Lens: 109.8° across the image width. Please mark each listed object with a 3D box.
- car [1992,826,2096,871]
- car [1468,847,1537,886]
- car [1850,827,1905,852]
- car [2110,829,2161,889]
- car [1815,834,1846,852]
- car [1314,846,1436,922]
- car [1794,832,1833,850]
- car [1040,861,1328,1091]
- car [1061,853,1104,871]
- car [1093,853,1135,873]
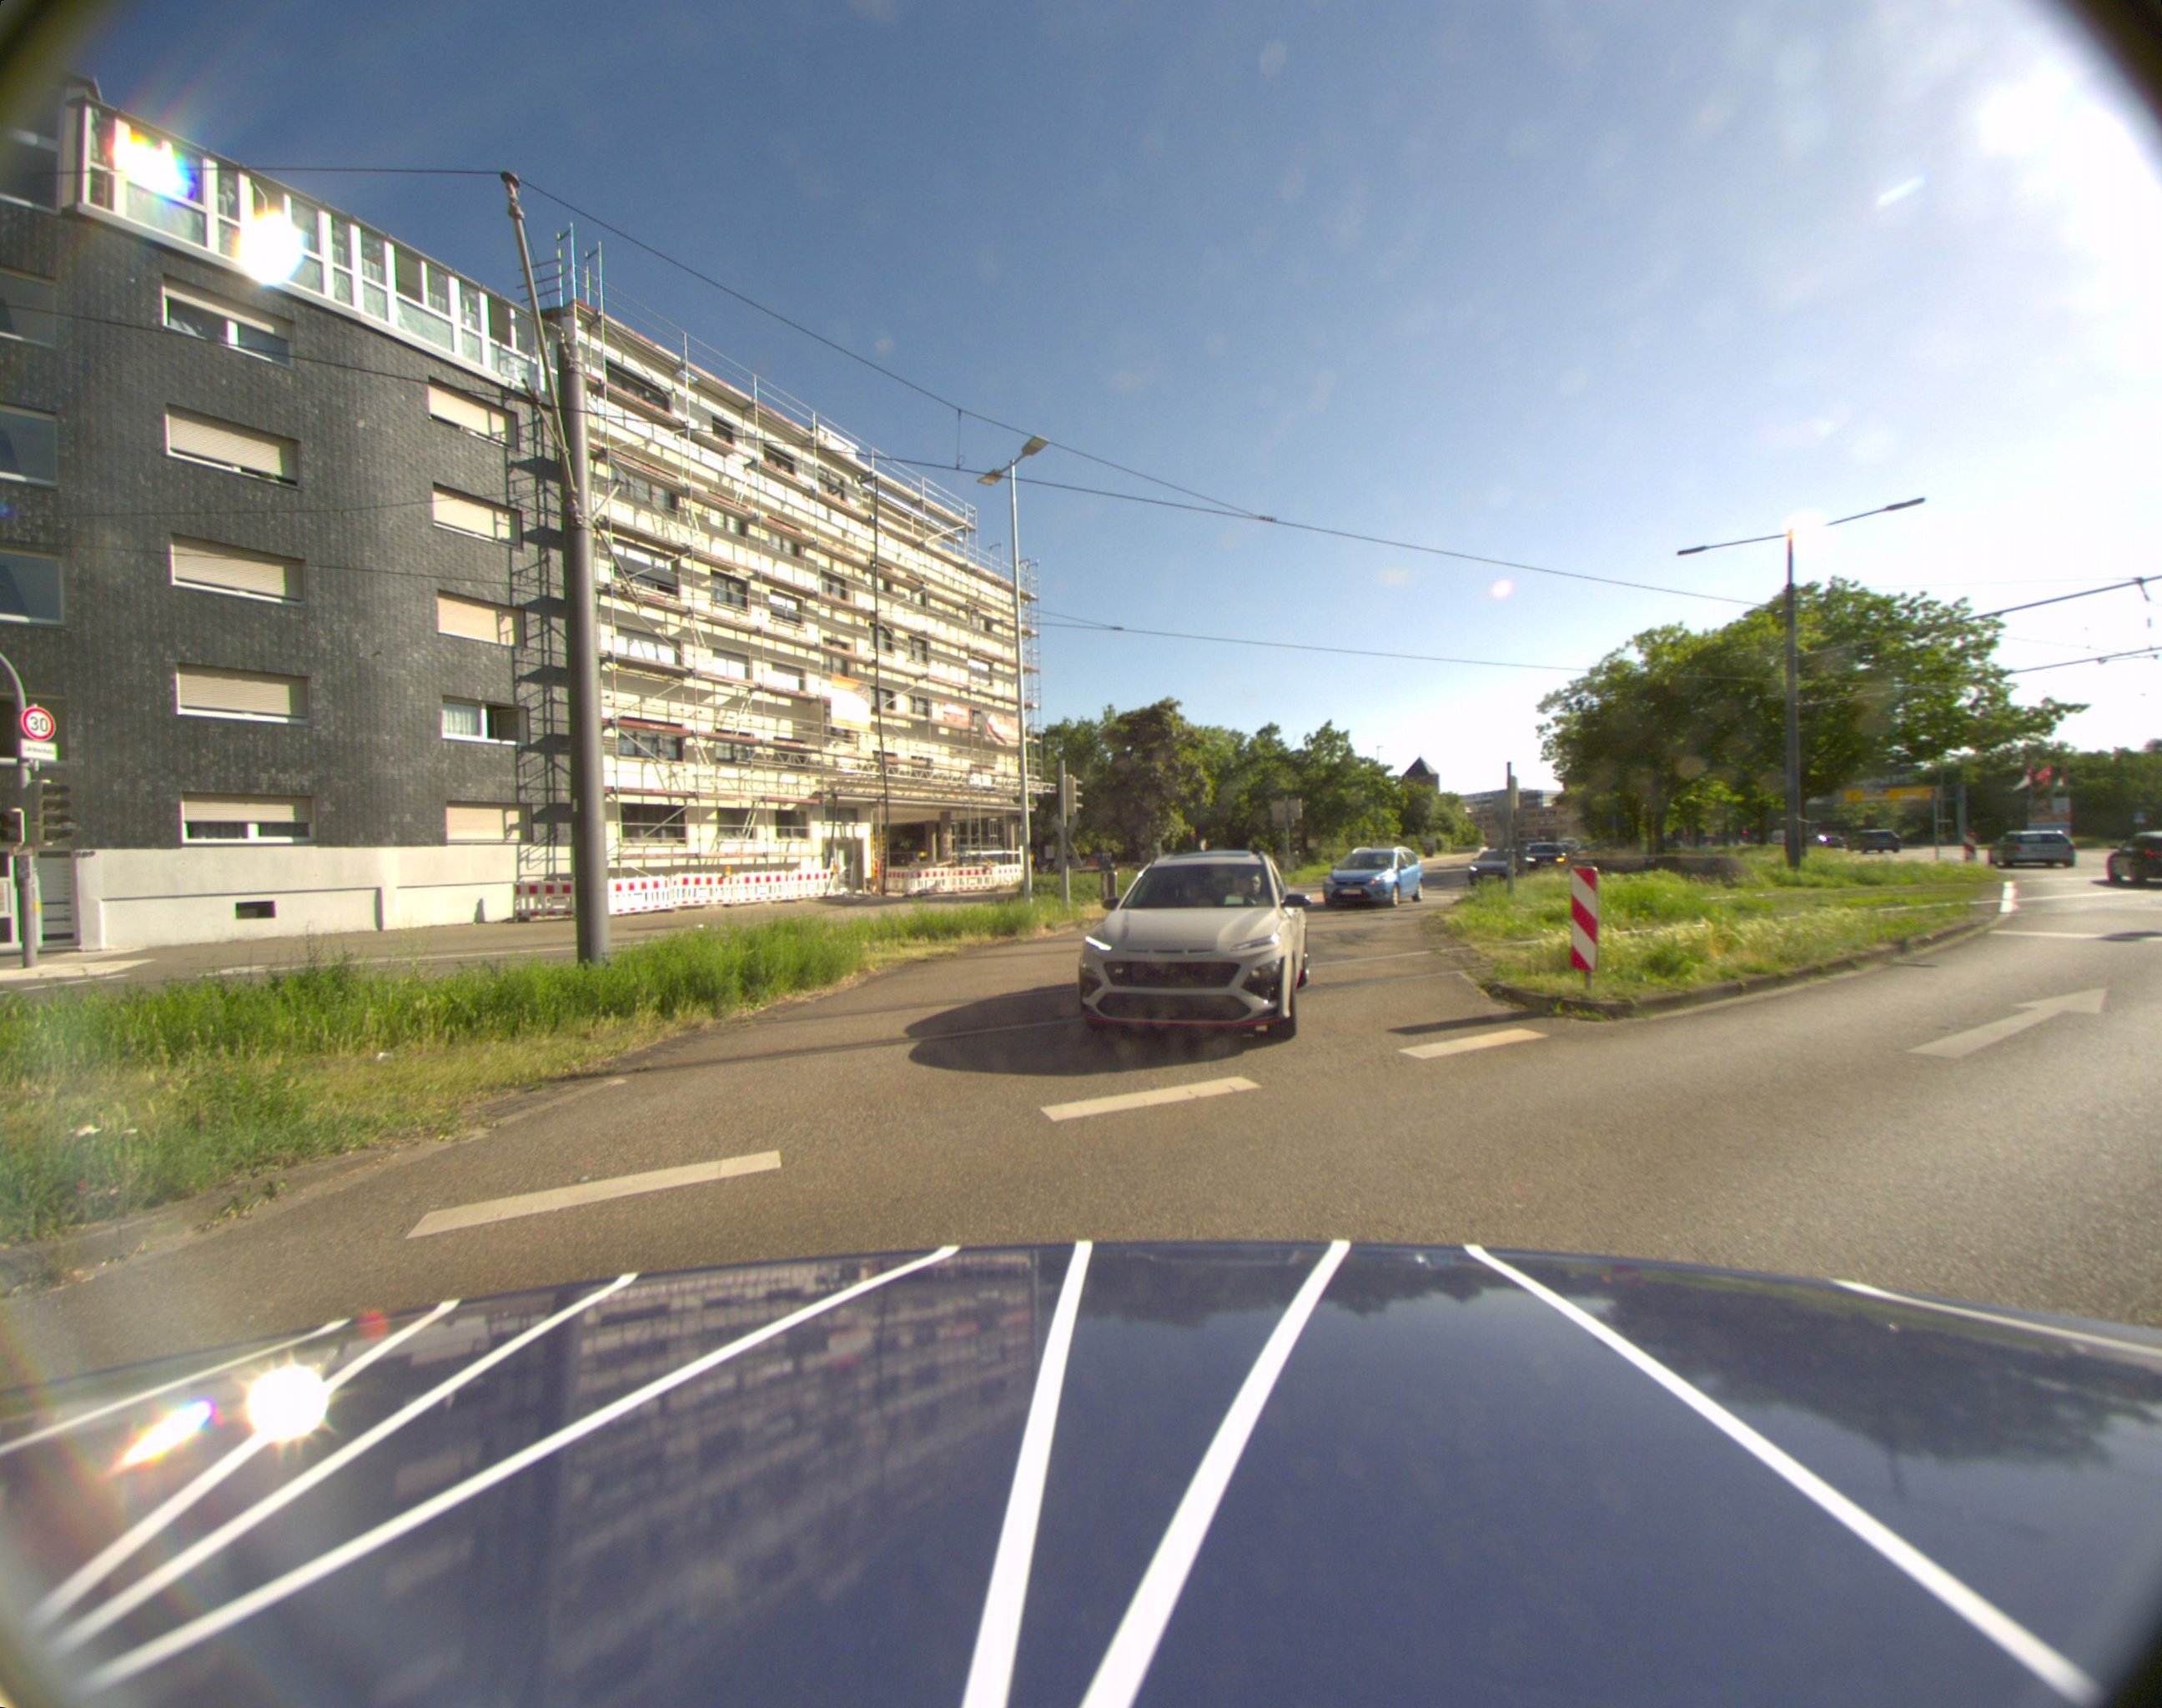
[{"bbox_3d":[38.681,-0.239,30.641,1.994,1.652,4.494,-1,0,44],"label":"car"},{"bbox_3d":[17.502,0.498,31.457,1.868,1.447,4.494,-1,0,37],"label":"car"},{"bbox_3d":[57.230,-1.020,54.690,1.994,1.652,4.494,-1,0,37],"label":"car"},{"bbox_3d":[30.340,0.081,20.871,4.493,1.543,1.994,-2,0,-43],"label":"car"},{"bbox_3d":[87.135,-1.275,88.383,1.994,2.002,4.008,-1,1,36],"label":"car"},{"bbox_3d":[8.076,0.718,20.603,1.868,1.765,4.494,-1,0,37],"label":"car"},{"bbox_3d":[73.006,-1.290,75.800,1.994,1.652,4.493,-1,0,33],"label":"car"},{"bbox_3d":[1.397,0.914,7.839,1.901,1.543,4.491,-1,0,21],"label":"car"},{"bbox_3d":[0.141,0.670,63.740,1.817,1.386,3.692,-1,1,33],"label":"car"},{"bbox_3d":[2.737,0.714,62.741,1.817,1.574,3.692,-1,1,33],"label":"car"}]
